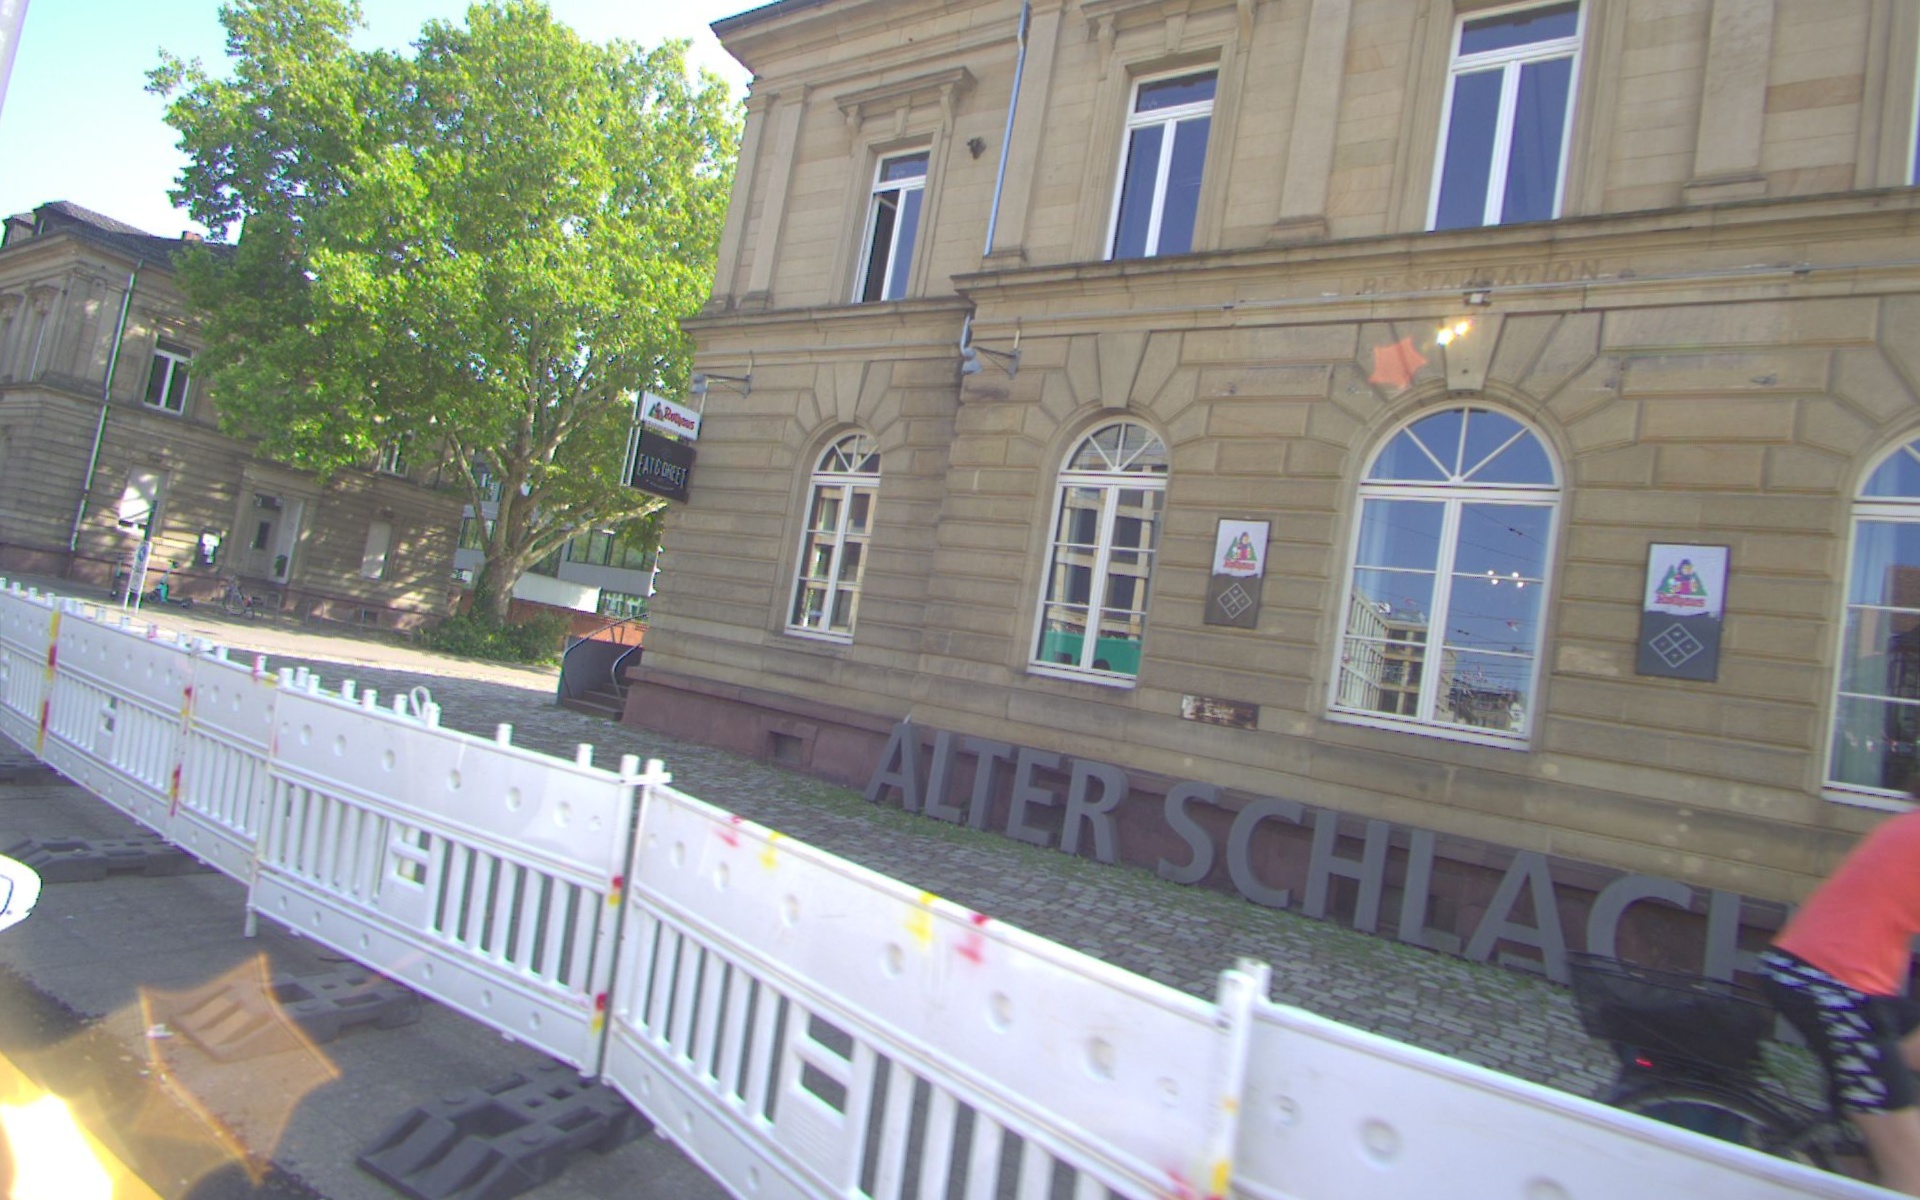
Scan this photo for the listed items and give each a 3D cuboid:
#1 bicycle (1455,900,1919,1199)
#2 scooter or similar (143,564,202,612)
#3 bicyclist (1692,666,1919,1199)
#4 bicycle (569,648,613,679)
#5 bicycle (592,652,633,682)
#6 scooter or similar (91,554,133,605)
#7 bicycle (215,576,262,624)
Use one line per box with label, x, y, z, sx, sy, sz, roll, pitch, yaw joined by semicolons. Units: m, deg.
bicycle;2.539;1.622;2.658;2.098;1.043;0.743;7;-4;33
scooter or similar;-21.693;-0.324;27.737;0.307;1.144;1.096;7;-4;29
bicyclist;2.610;1.082;2.702;0.839;1.642;0.737;7;-4;33
bicycle;-14.071;2.416;38.339;1.769;0.869;0.647;8;-3;41
bicycle;-13.495;2.595;39.026;1.769;0.869;0.568;8;-3;41
scooter or similar;-22.104;-0.534;26.218;1.207;1.178;0.409;6;-4;38
bicycle;-20.600;0.000;28.716;1.604;1.178;0.499;6;-4;38
